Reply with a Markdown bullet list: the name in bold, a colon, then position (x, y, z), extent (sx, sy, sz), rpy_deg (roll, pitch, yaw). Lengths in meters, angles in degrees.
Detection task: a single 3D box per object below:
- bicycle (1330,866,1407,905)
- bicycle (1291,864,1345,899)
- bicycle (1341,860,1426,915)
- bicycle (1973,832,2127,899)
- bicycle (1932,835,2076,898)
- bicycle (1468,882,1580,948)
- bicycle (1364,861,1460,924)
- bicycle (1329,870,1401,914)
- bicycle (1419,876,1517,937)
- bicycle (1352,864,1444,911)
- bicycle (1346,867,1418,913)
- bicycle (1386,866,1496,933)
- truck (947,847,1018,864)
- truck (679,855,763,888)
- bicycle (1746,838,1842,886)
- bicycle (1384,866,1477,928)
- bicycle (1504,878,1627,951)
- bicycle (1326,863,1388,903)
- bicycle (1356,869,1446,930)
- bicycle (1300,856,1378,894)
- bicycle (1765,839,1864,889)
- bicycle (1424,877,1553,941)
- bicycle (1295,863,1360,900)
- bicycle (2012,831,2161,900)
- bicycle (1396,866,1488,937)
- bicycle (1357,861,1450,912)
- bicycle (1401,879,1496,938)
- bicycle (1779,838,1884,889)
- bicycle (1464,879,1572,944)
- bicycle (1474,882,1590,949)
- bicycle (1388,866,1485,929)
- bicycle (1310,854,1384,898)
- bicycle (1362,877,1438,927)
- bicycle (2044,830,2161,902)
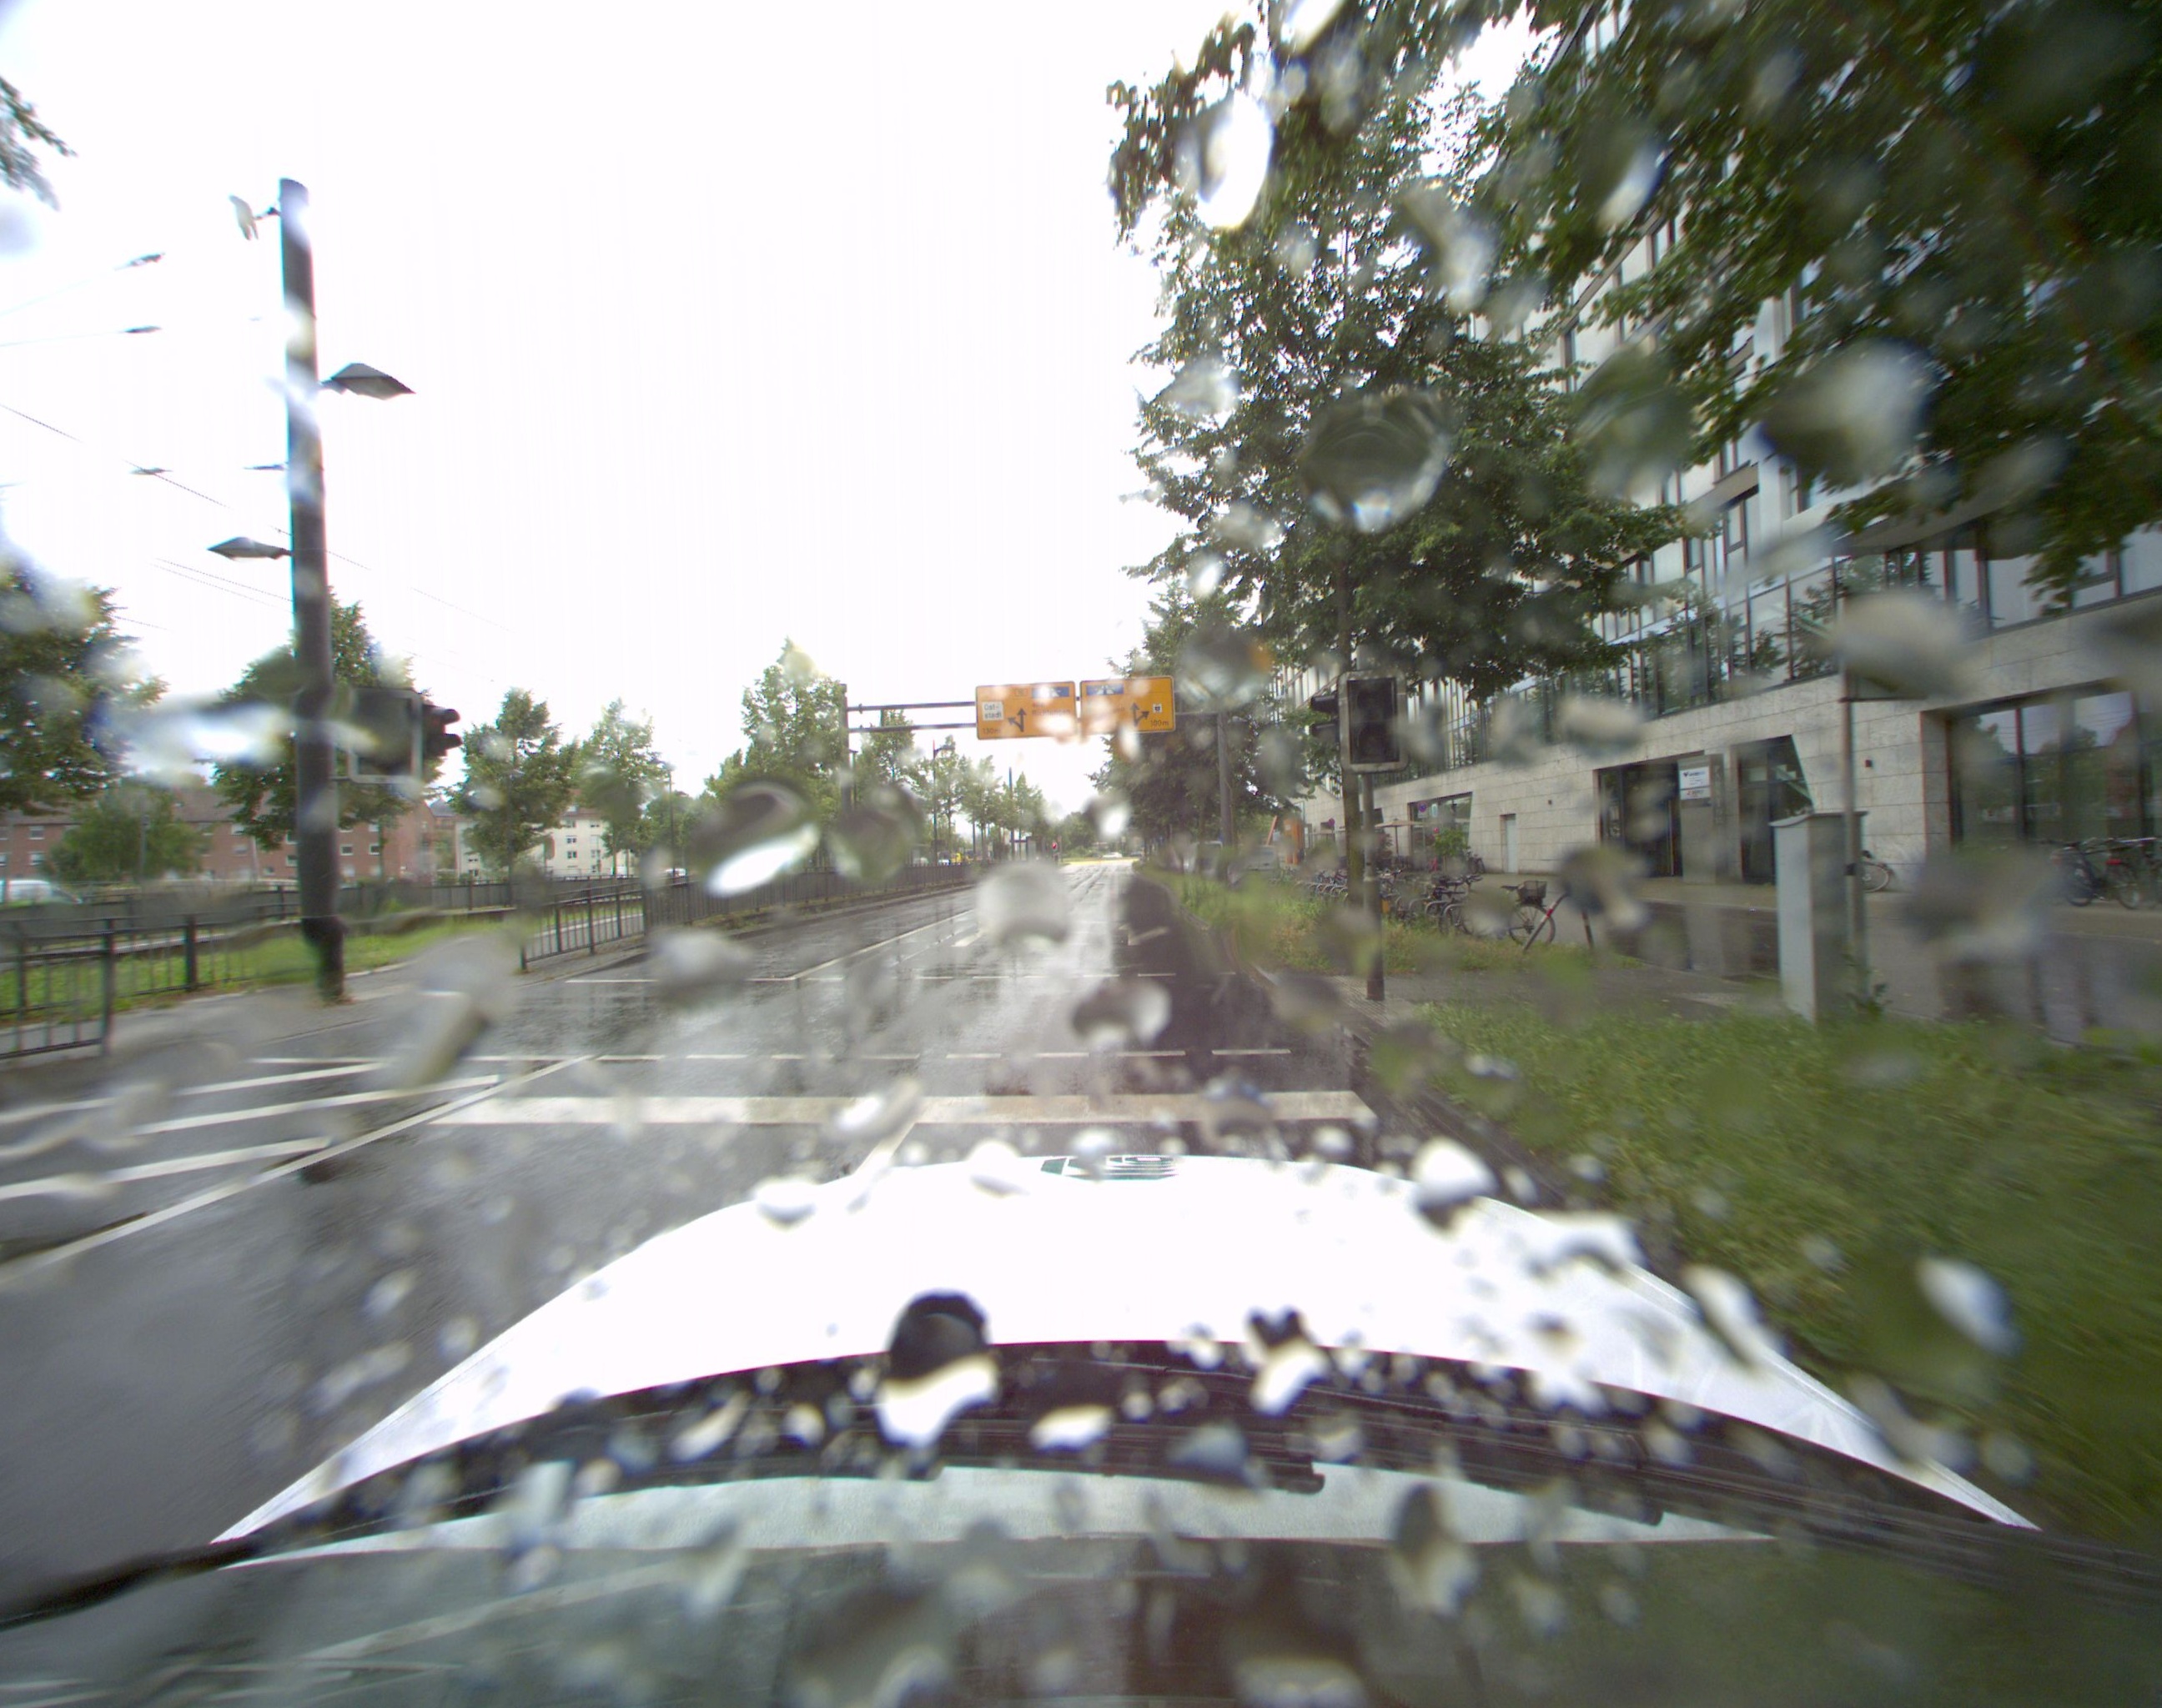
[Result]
- **bicycle**: position (6.422, 0.705, 18.220), extent (1.609, 0.849, 0.275), rpy_deg (-1, -1, 1)
- **bicycle**: position (6.046, 0.698, 20.782), extent (1.283, 0.849, 0.275), rpy_deg (-2, 0, 1)
- **bicycle**: position (6.216, 0.686, 16.772), extent (1.607, 1.053, 0.297), rpy_deg (-3, 0, 0)
- **bicycle**: position (16.291, 0.193, 13.719), extent (1.798, 1.028, 0.541), rpy_deg (-2, -1, 4)
- **bicycle**: position (16.379, 0.217, 14.471), extent (1.798, 1.028, 0.541), rpy_deg (-2, -1, 4)
- **bicycle**: position (6.009, 0.834, 11.083), extent (1.279, 0.849, 0.276), rpy_deg (-3, 0, 13)
- **bicycle**: position (6.255, 0.725, 15.411), extent (1.703, 1.103, 0.283), rpy_deg (-3, 0, -5)
- **bicycle**: position (5.975, 0.795, 17.146), extent (1.400, 0.849, 0.275), rpy_deg (-3, 0, 0)
- **bicycle**: position (5.813, 0.794, 12.258), extent (1.281, 0.849, 0.276), rpy_deg (-3, 0, 6)
- **bicycle**: position (6.266, 0.655, 16.118), extent (1.701, 0.849, 0.313), rpy_deg (-2, 0, -2)
- **bicycle**: position (6.465, 0.769, 17.516), extent (1.405, 0.897, 0.275), rpy_deg (-3, 0, 0)
- **bicycle**: position (5.906, 0.746, 13.392), extent (1.565, 1.017, 0.409), rpy_deg (-3, 0, 9)
- **truck**: position (-21.190, 0.344, 175.948), extent (14.946, 3.147, 3.490), rpy_deg (-2, 0, -29)
- **truck**: position (-60.205, 2.902, 136.509), extent (12.512, 4.592, 3.375), rpy_deg (-3, 2, -25)
- **bicycle**: position (16.158, 0.179, 18.465), extent (1.686, 1.028, 0.423), rpy_deg (-2, -1, 4)
- **bicycle**: position (6.086, 0.753, 14.224), extent (1.431, 1.017, 0.349), rpy_deg (-2, 0, 7)
- **bicycle**: position (6.147, 0.771, 10.361), extent (1.279, 0.874, 0.302), rpy_deg (-3, 0, 13)
- **bicycle**: position (6.288, 0.664, 18.578), extent (1.283, 0.849, 0.275), rpy_deg (-3, 0, 1)
- **bicycle**: position (5.741, 0.807, 14.641), extent (1.447, 1.017, 0.349), rpy_deg (-2, 0, 0)
- **bicycle**: position (6.345, 0.523, 20.061), extent (1.810, 0.849, 0.275), rpy_deg (-3, 0, 1)
- **bicycle**: position (16.150, 0.216, 17.960), extent (1.686, 1.028, 0.423), rpy_deg (-2, -1, 4)
- **bicycle**: position (5.933, 0.795, 11.896), extent (1.663, 0.849, 0.276), rpy_deg (-3, 0, 6)
- **bicycle**: position (6.176, 0.690, 20.432), extent (1.517, 0.849, 0.277), rpy_deg (-2, 0, 1)
- **bicycle**: position (16.230, 0.181, 13.071), extent (1.798, 1.028, 0.541), rpy_deg (-2, -1, 4)
- **bicycle**: position (5.753, 0.762, 13.017), extent (1.280, 1.074, 0.276), rpy_deg (-3, 0, 10)
- **bicycle**: position (6.229, 0.620, 15.750), extent (1.703, 0.948, 0.313), rpy_deg (-1, -1, -5)
- **bicycle**: position (5.670, 0.840, 12.589), extent (1.281, 0.858, 0.276), rpy_deg (-2, 0, 6)
- **bicycle**: position (16.098, 0.202, 17.487), extent (1.742, 1.028, 0.413), rpy_deg (-2, -1, 4)
- **bicycle**: position (6.088, 0.802, 11.384), extent (1.279, 0.849, 0.276), rpy_deg (-3, 0, 13)
- **bicycle**: position (5.956, 0.817, 10.789), extent (1.279, 0.832, 0.276), rpy_deg (-3, 0, 13)
- **bicycle**: position (6.022, 0.738, 13.837), extent (1.430, 1.017, 0.350), rpy_deg (-2, 0, 9)
- **bicycle**: position (6.414, 0.525, 19.684), extent (1.637, 0.988, 0.321), rpy_deg (-3, 0, 1)
- **bicycle**: position (5.881, 0.878, 15.026), extent (1.286, 0.849, 0.275), rpy_deg (-2, 0, -4)
- **bicycle**: position (16.052, 0.177, 12.476), extent (1.798, 1.028, 0.541), rpy_deg (-2, -1, 4)
